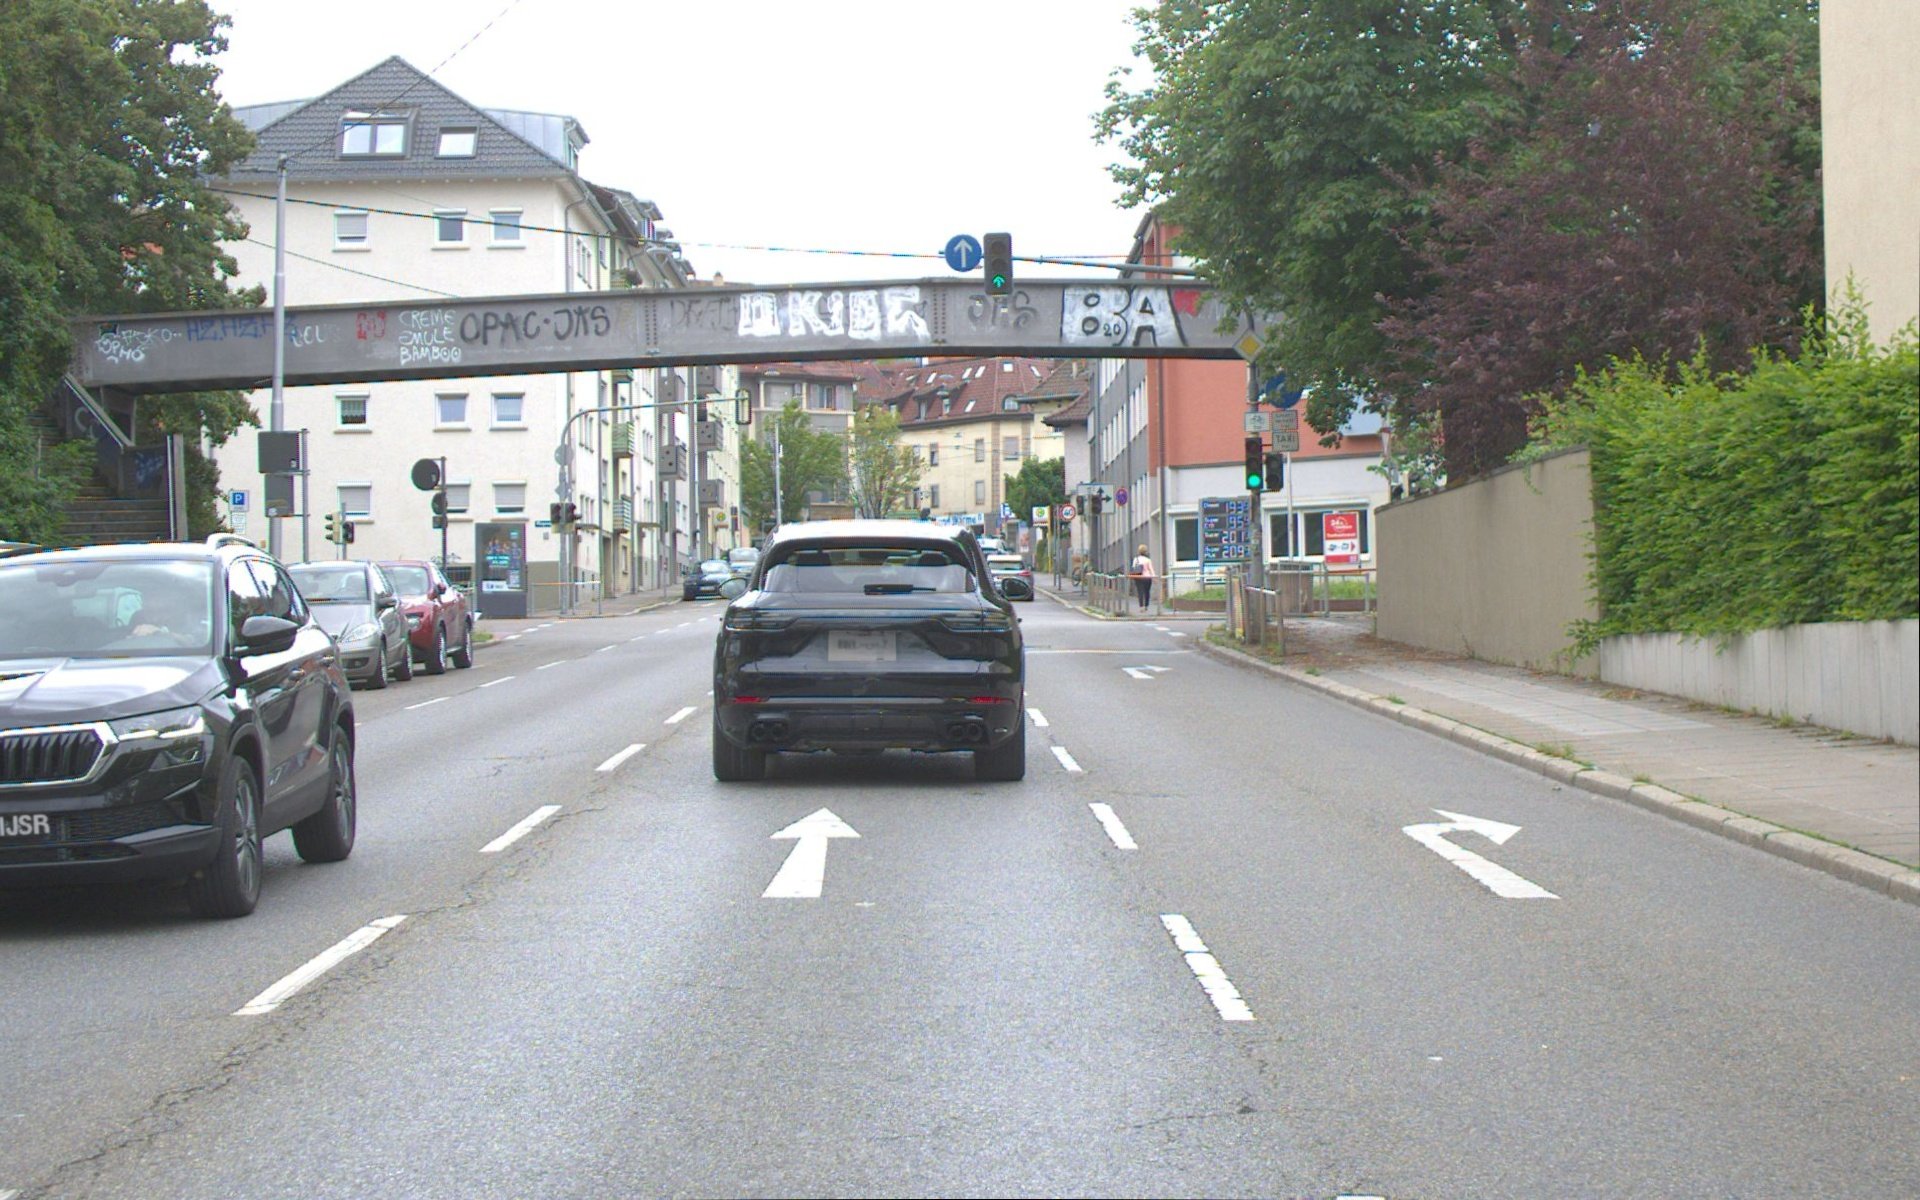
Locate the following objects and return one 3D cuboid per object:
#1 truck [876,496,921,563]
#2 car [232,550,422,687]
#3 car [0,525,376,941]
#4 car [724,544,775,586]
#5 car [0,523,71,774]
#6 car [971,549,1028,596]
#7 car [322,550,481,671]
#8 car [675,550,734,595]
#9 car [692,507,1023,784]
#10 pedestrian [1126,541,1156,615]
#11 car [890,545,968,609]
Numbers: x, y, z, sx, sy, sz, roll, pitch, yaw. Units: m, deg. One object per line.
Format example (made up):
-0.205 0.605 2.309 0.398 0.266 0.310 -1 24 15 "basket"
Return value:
-3.206 -3.682 180.801 2.266 3.412 9.879 -1 1 -1 "truck"
-7.850 0.192 42.922 1.745 1.563 3.909 -2 1 -2 "car"
-3.885 0.491 15.350 1.840 1.585 4.164 -2 1 0 "car"
-8.378 -1.409 136.995 1.765 1.644 4.000 -1 1 0 "car"
-7.613 0.373 23.709 1.776 1.748 4.558 -2 1 -1 "car"
1.240 -0.884 109.074 1.741 1.395 4.000 0 2 0 "car"
-7.697 0.114 47.681 1.533 1.535 3.982 -2 1 -1 "car"
-8.931 -0.980 120.386 1.765 1.503 4.000 -1 1 0 "car"
-0.626 0.223 22.769 1.993 1.656 4.000 0 2 0 "car"
4.397 -0.530 83.620 0.652 1.786 0.715 0 1 -3 "pedestrian"
-0.710 -0.548 79.231 1.741 1.395 4.000 0 2 0 "car"
